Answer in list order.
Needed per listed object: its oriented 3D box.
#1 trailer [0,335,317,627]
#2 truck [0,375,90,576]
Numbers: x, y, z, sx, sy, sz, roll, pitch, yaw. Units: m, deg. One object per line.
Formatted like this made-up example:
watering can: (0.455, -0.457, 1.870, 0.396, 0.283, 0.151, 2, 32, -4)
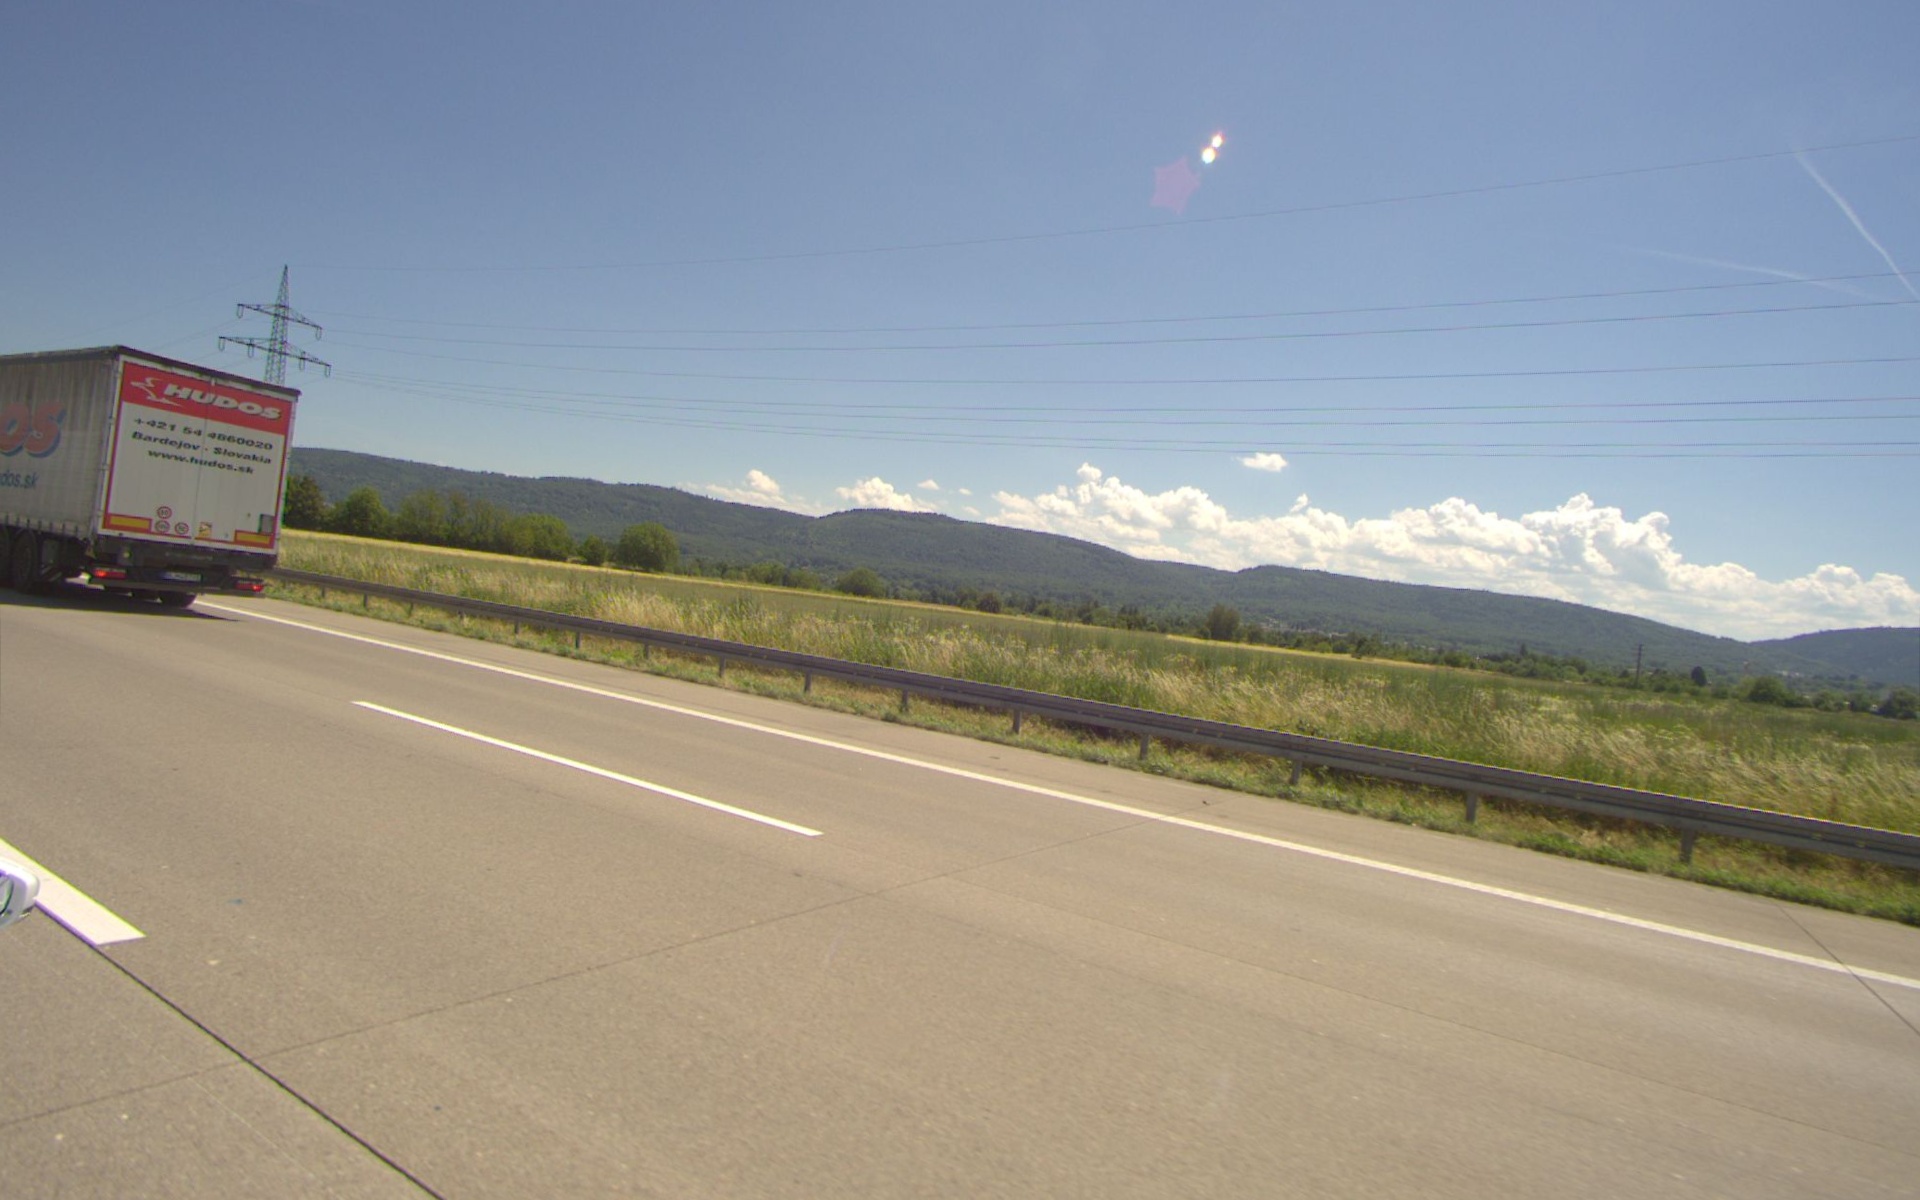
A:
trailer: (-17.752, -2.397, 19.679, 13.288, 4.148, 2.879, 7, -1, 32)
truck: (-23.403, -3.053, 23.240, 6.167, 4.148, 2.911, 7, -1, 32)
